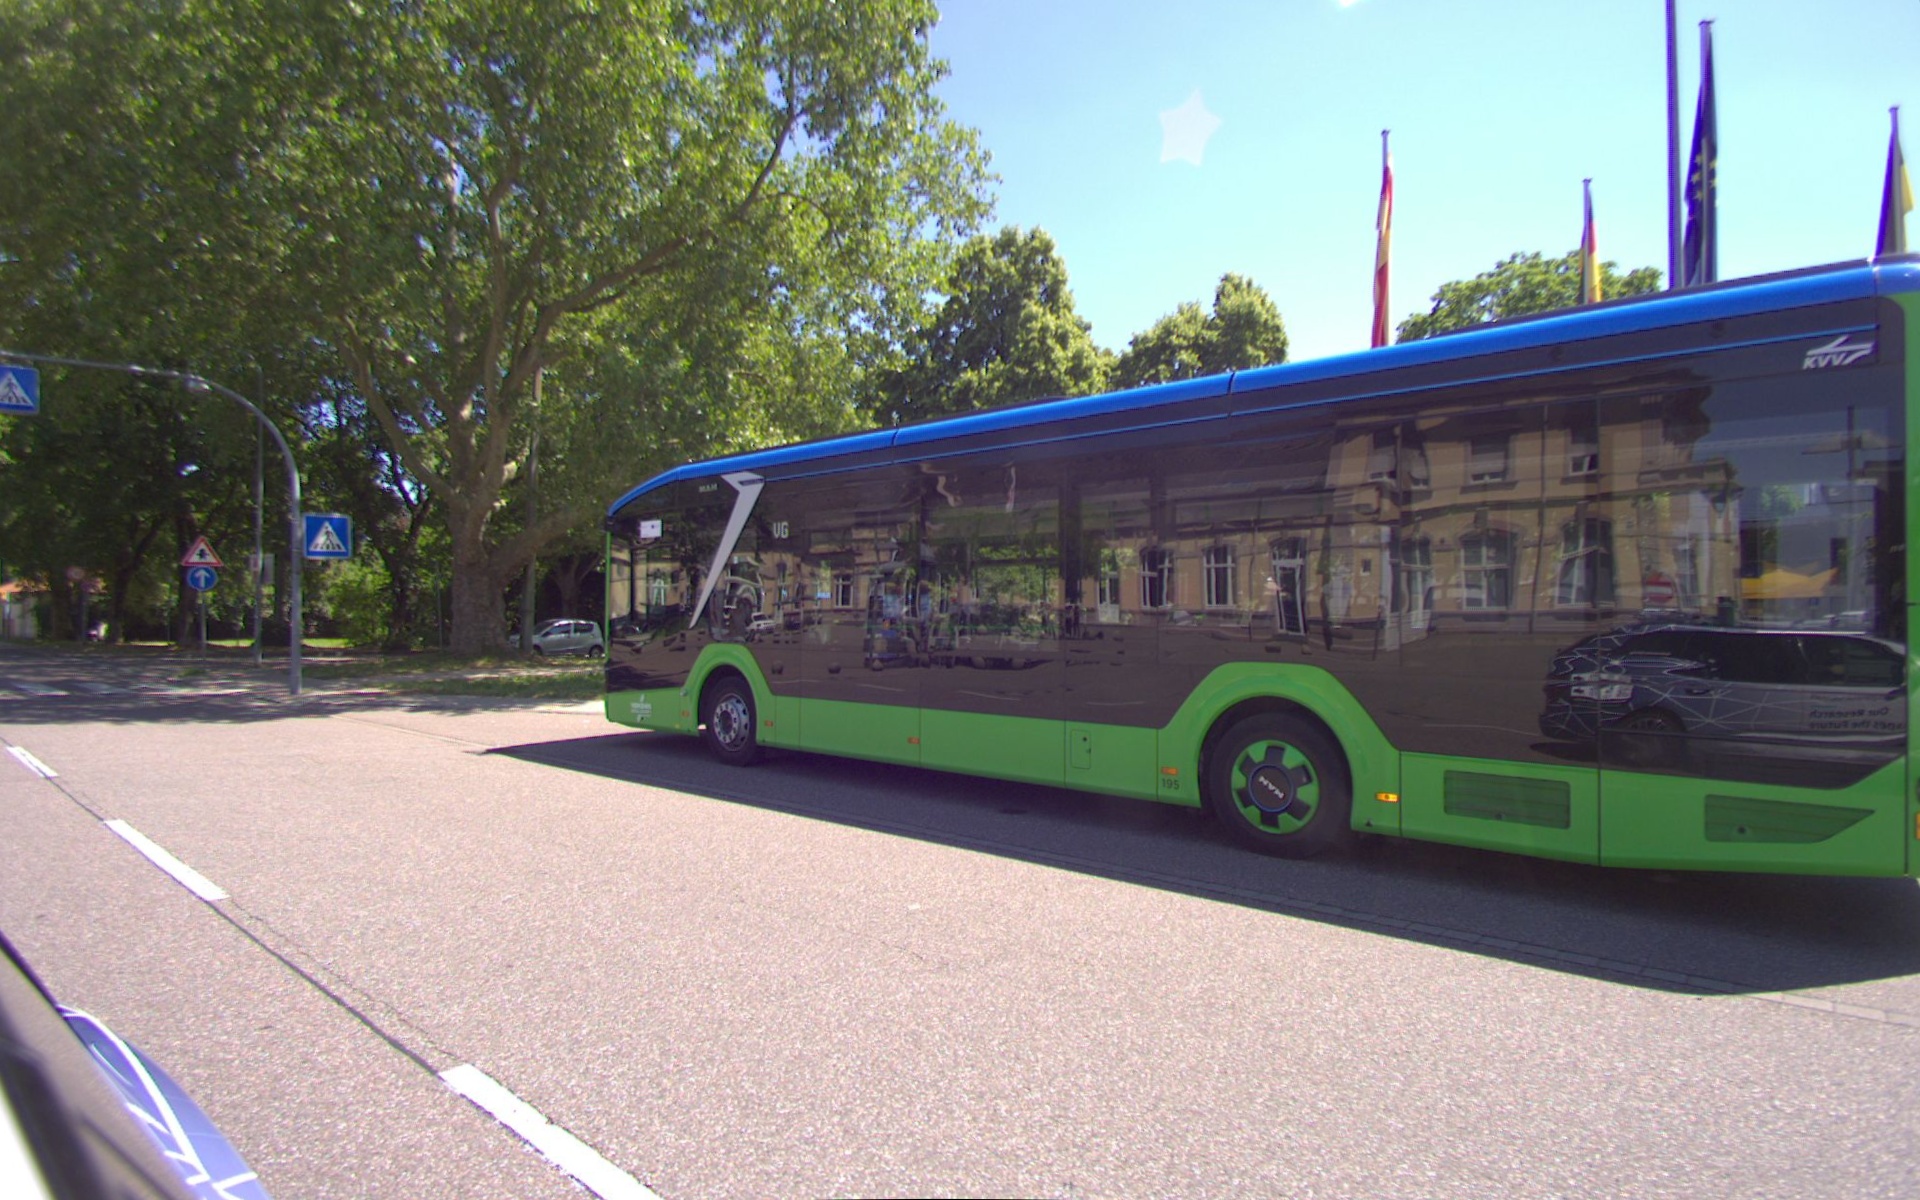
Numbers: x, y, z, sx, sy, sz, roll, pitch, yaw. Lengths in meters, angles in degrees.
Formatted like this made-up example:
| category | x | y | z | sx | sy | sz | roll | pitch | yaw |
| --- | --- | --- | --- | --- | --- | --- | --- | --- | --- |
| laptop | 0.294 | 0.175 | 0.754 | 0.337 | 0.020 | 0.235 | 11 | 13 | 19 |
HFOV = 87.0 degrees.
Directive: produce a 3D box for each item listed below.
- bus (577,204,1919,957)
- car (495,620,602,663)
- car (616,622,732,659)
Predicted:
| category | x | y | z | sx | sy | sz | roll | pitch | yaw |
| --- | --- | --- | --- | --- | --- | --- | --- | --- | --- |
| bus | 0.927 | 0.012 | 9.211 | 12.419 | 3.308 | 2.779 | -1 | -2 | 41 |
| car | -15.608 | 1.542 | 38.489 | 1.599 | 1.508 | 3.438 | 1 | -1 | 41 |
| car | -11.884 | 1.663 | 42.290 | 1.755 | 1.450 | 4.441 | 1 | -1 | 41 |
